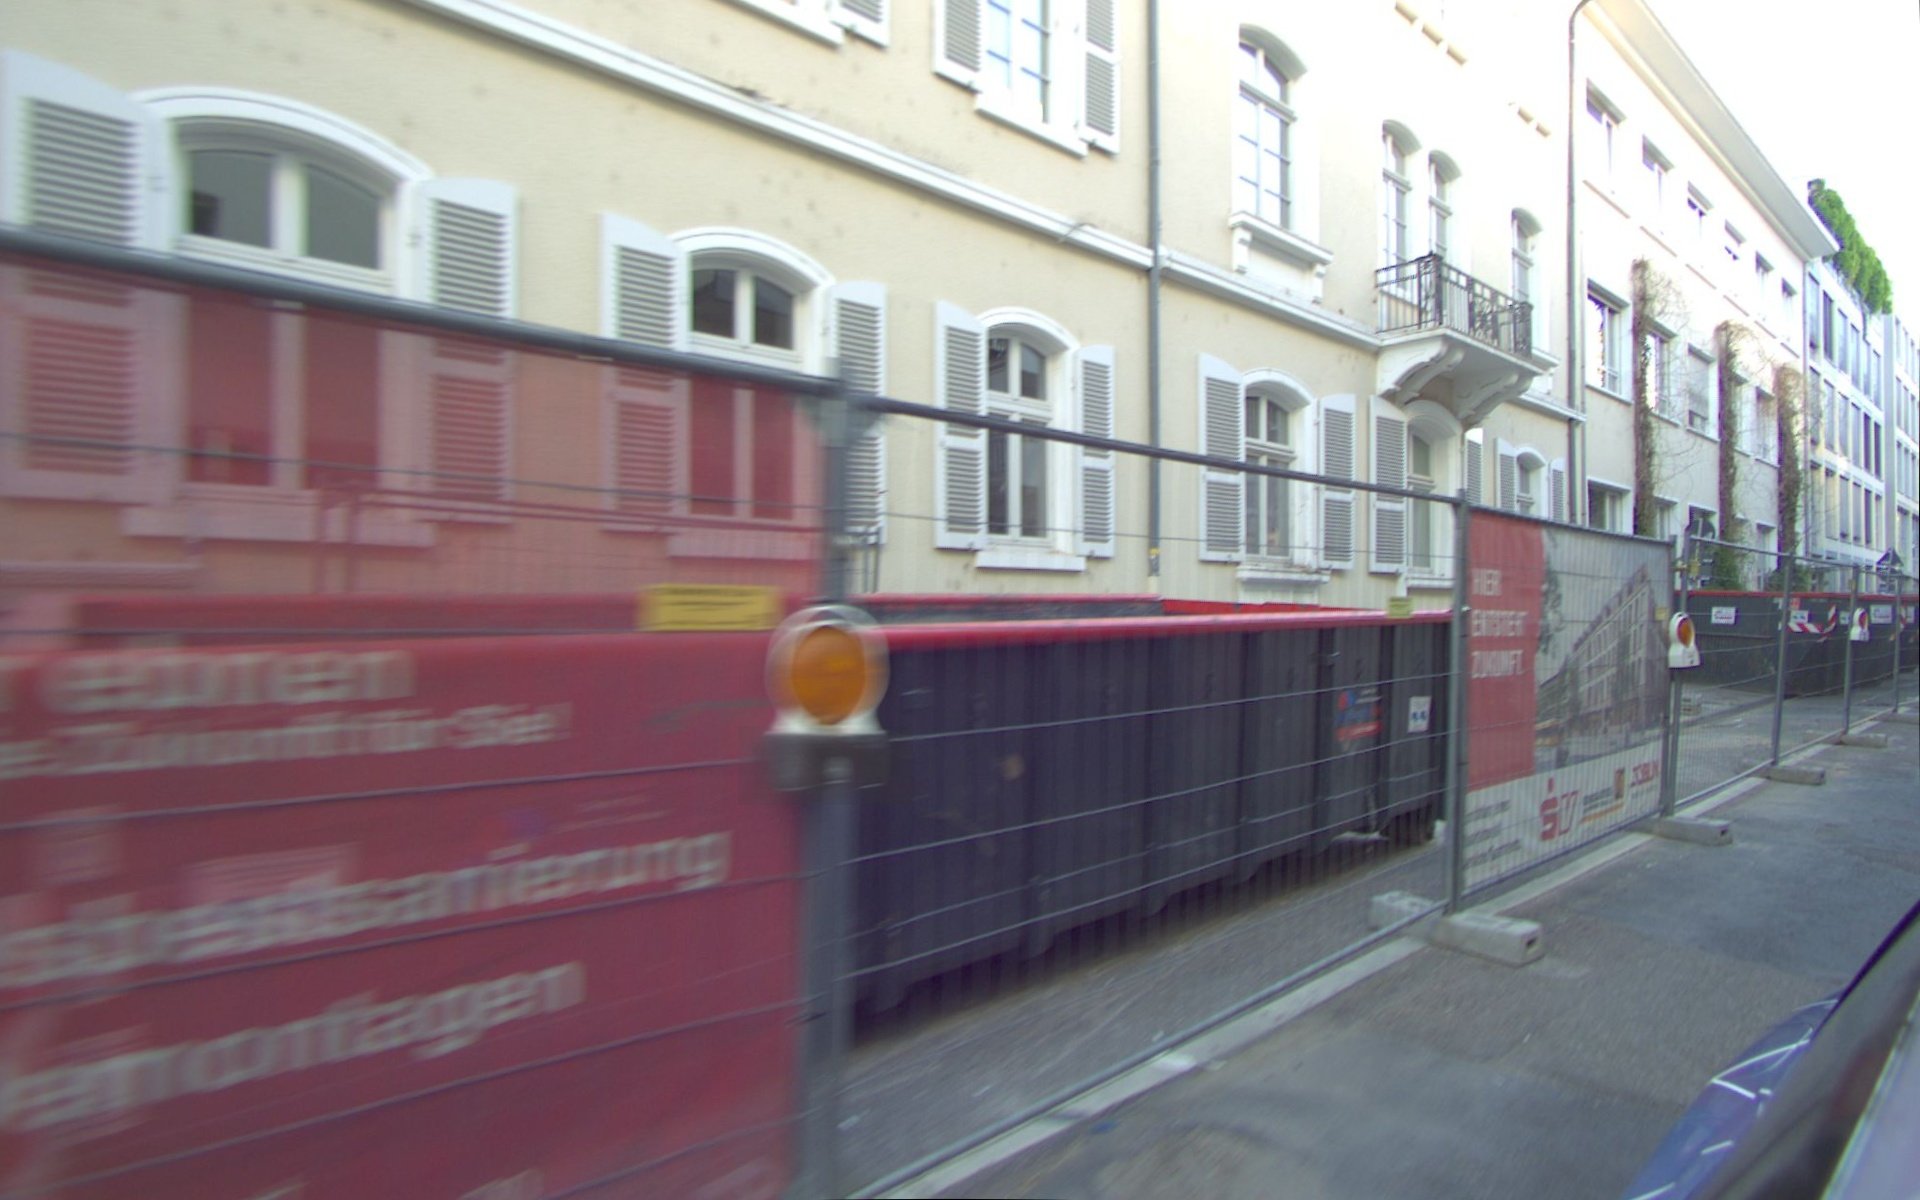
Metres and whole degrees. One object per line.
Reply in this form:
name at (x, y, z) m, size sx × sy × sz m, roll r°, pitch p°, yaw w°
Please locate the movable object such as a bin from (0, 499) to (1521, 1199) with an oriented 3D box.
movable object such as a bin at (-0.133, 0.677, 4.912) m, size 7.422 × 1.659 × 2.739 m, roll 0°, pitch -1°, yaw -42°
